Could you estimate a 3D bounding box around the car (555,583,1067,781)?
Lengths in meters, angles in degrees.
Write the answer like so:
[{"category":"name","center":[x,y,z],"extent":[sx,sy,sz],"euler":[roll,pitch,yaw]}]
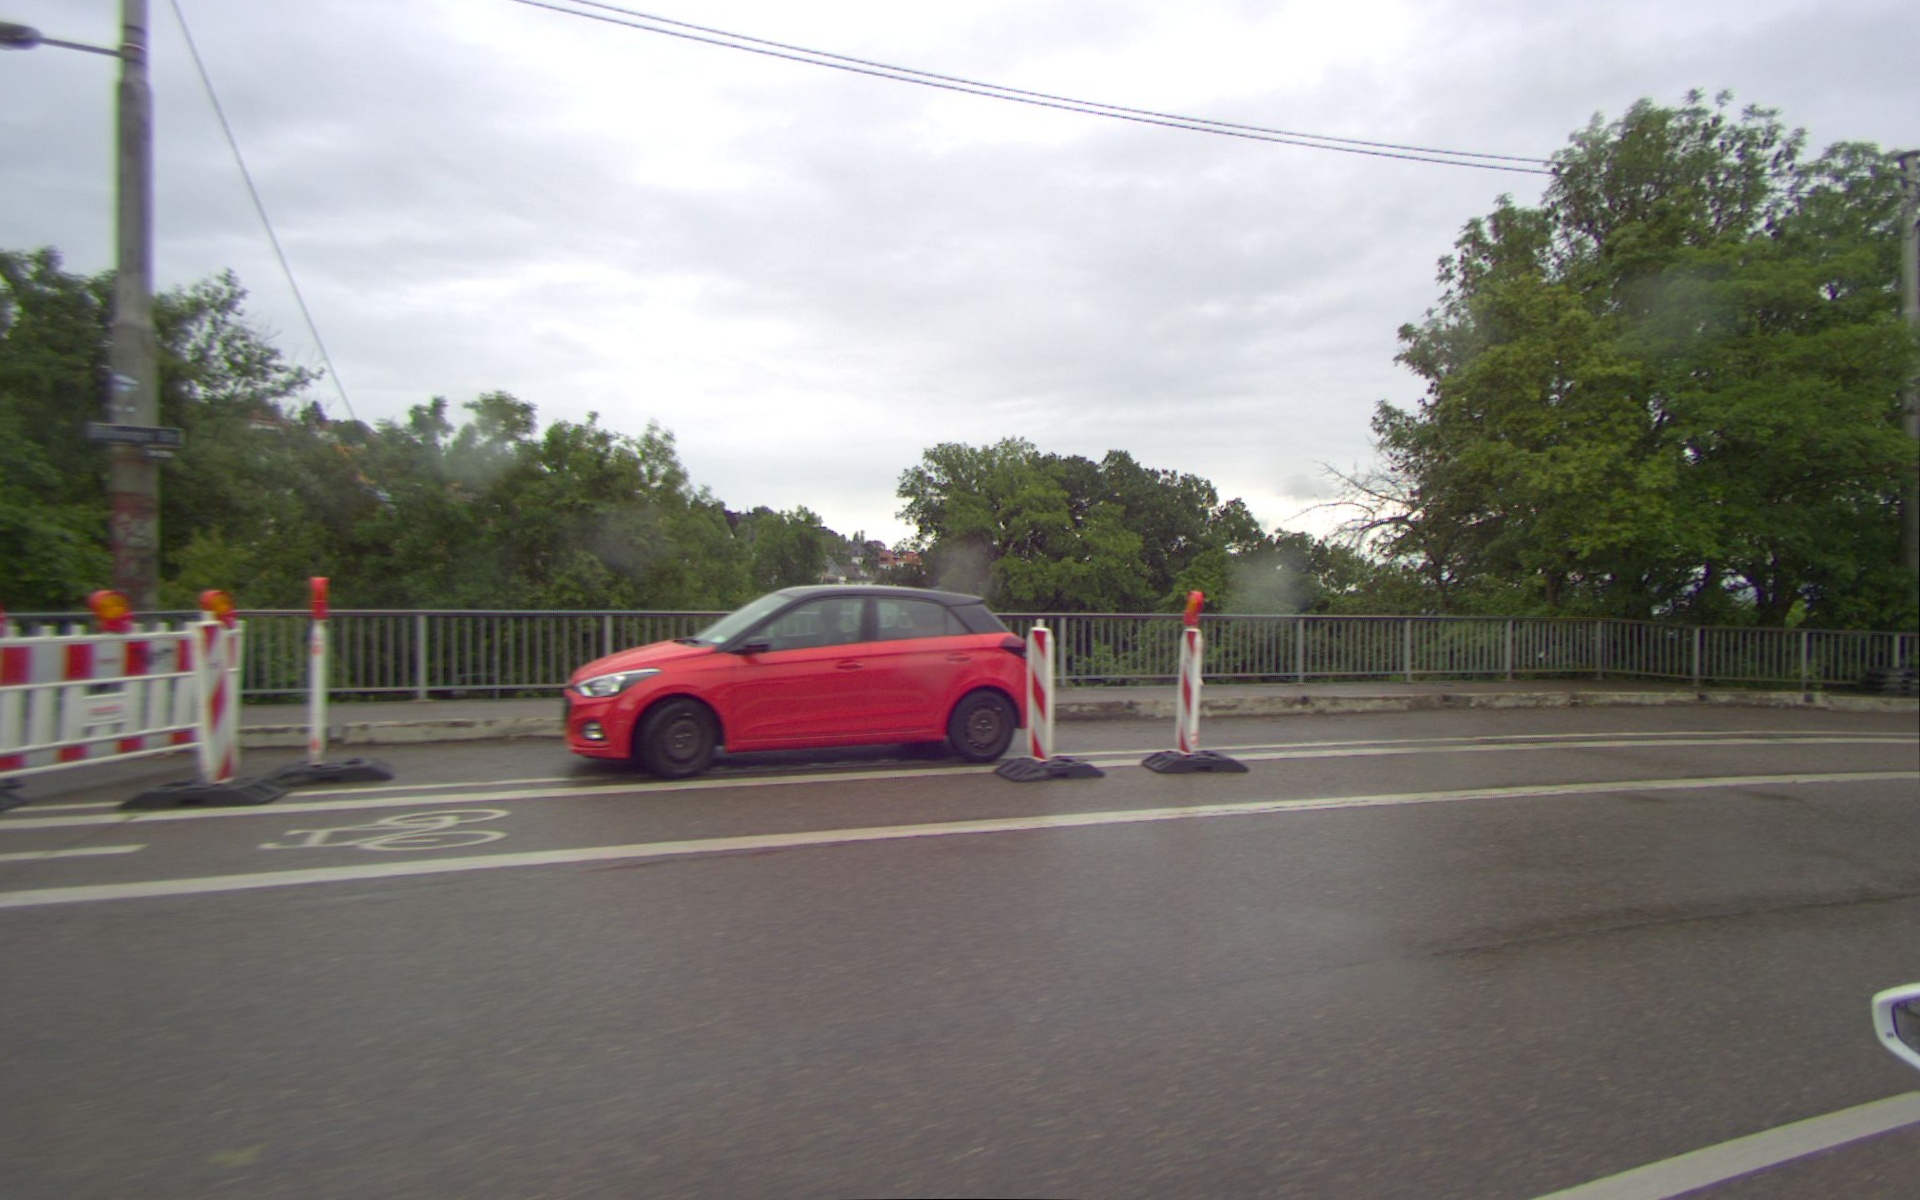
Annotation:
[{"category":"car","center":[-1.284,0.649,8.713],"extent":[4.076,1.416,1.682],"euler":[2,-1,-22]}]
